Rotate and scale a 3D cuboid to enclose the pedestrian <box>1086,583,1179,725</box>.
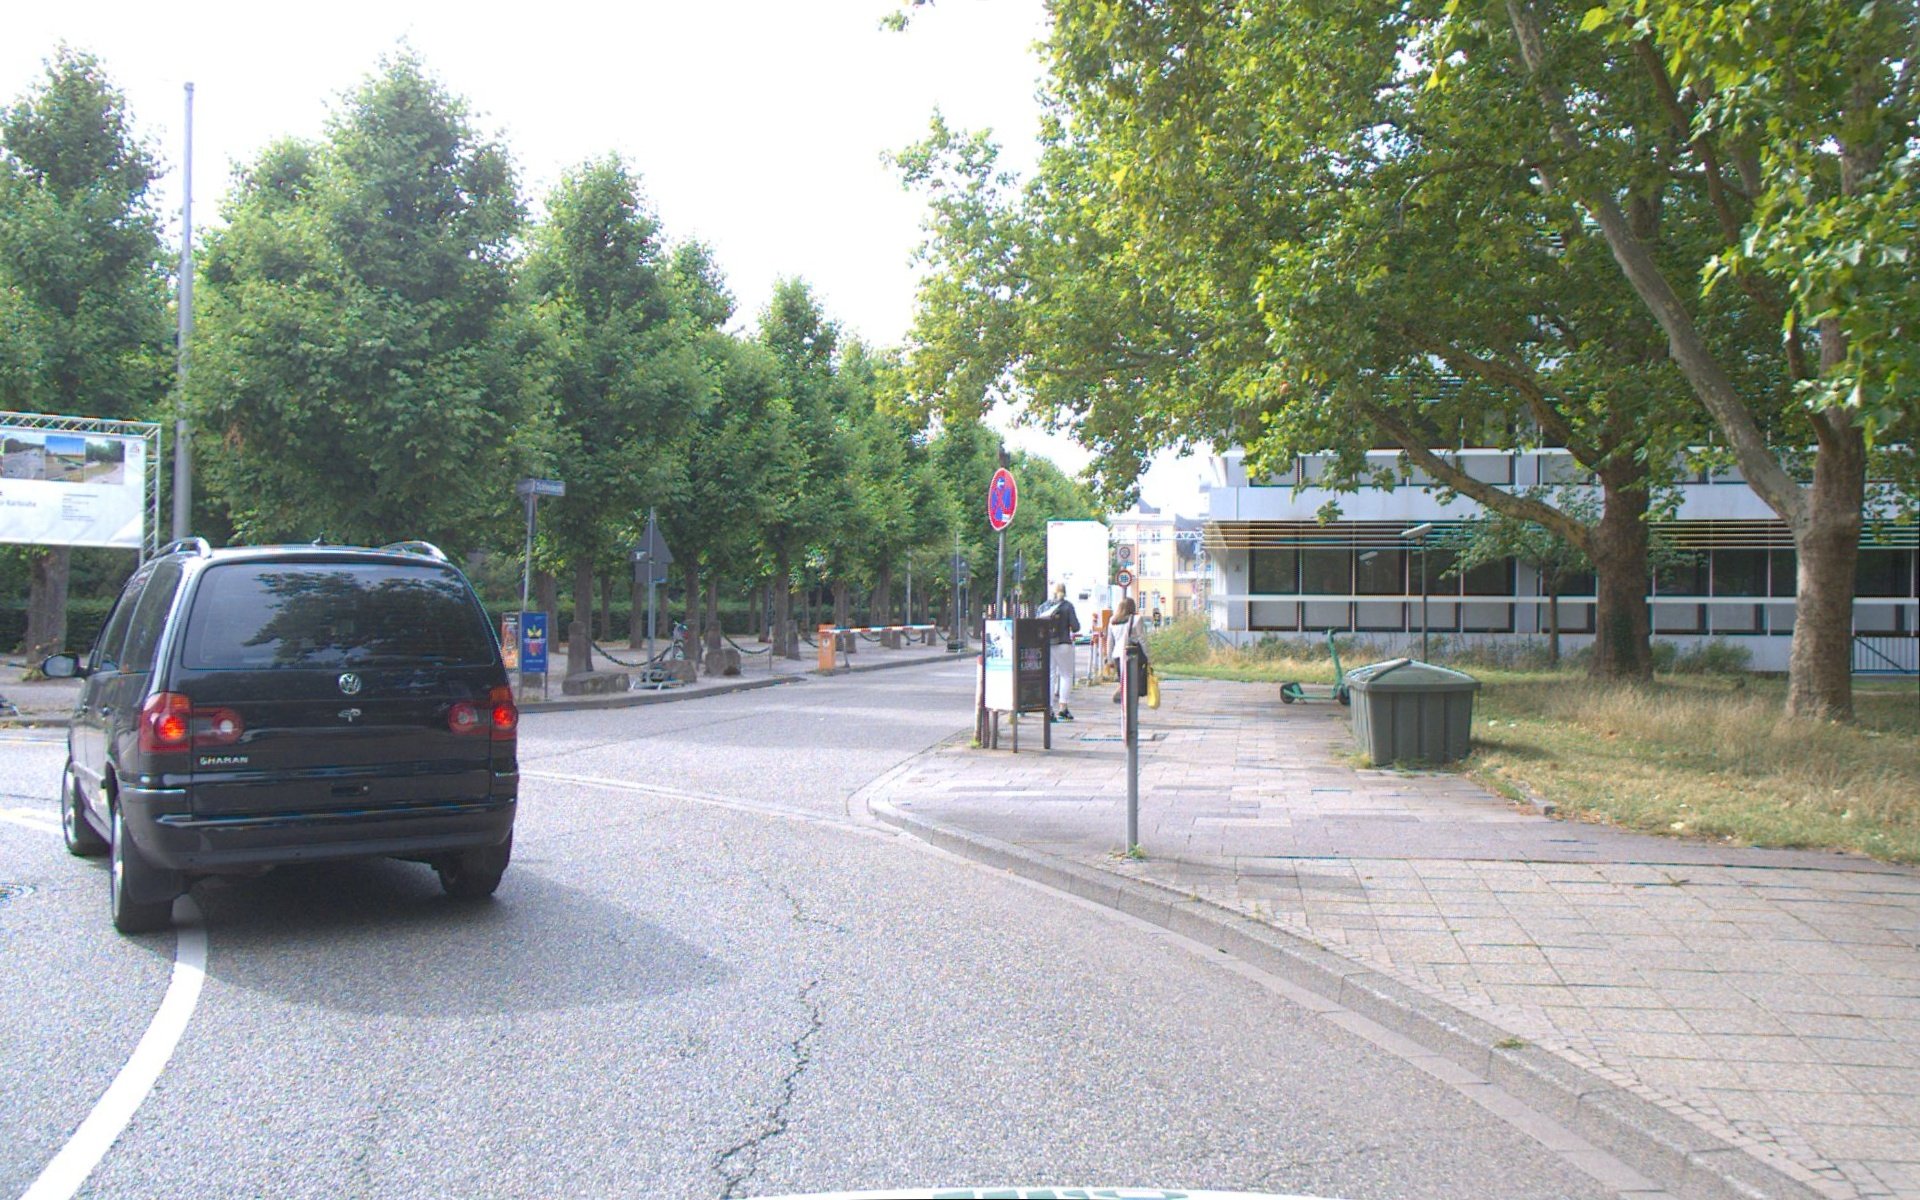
[{"bbox_3d":[2.124,0.646,20.364,0.878,1.670,0.852,2,0,24],"label":"pedestrian"}]

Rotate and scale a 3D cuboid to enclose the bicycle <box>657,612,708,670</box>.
[{"bbox_3d":[-5.908,0.858,35.362,0.934,1.129,2.575,2,0,-7],"label":"bicycle"}]

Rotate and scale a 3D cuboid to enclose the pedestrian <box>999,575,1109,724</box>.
[{"bbox_3d":[1.186,0.600,20.667,0.941,1.772,1.255,2,0,24],"label":"pedestrian"}]

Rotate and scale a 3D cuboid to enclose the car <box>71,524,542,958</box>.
[{"bbox_3d":[-3.686,0.565,8.865,1.775,1.738,4.089,0,0,-30],"label":"car"}]

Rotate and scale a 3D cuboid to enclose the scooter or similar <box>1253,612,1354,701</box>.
[{"bbox_3d":[5.261,0.856,25.391,1.419,1.291,0.570,2,0,6],"label":"scooter or similar"}]

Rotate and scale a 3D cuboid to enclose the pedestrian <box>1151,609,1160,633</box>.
[{"bbox_3d":[13.797,1.477,116.692,0.450,1.653,0.632,2,0,-4],"label":"pedestrian"}]
